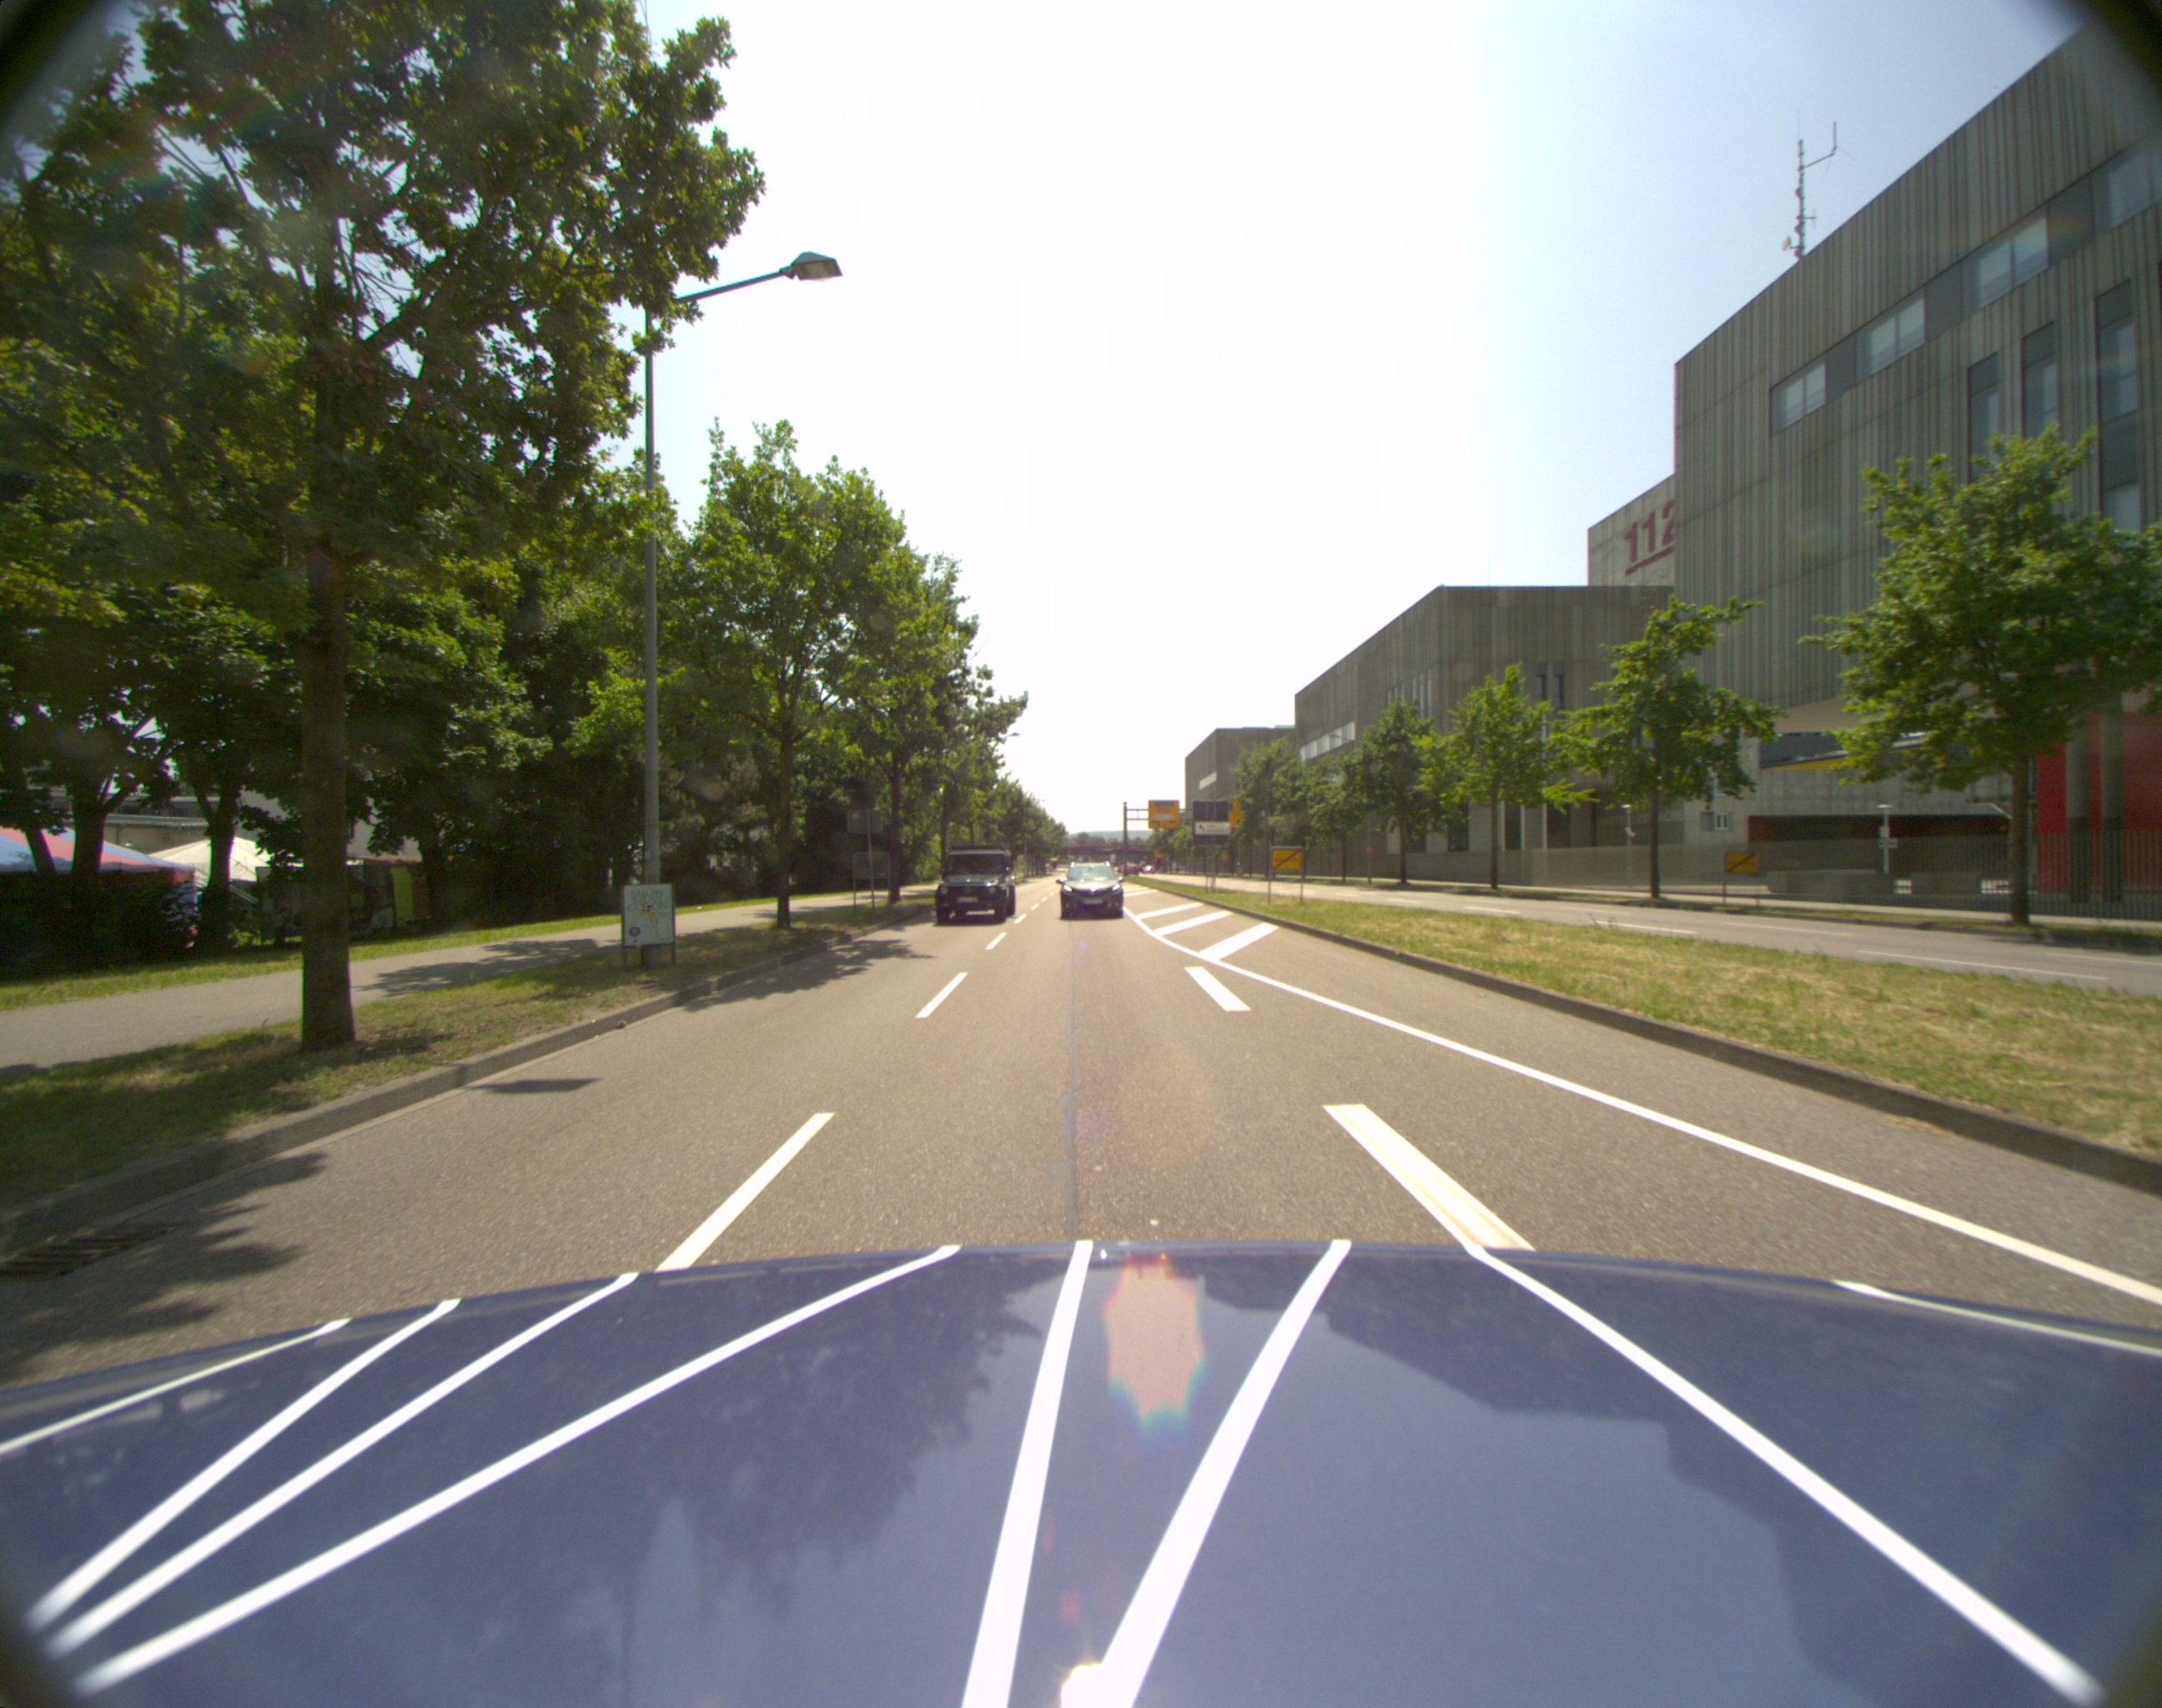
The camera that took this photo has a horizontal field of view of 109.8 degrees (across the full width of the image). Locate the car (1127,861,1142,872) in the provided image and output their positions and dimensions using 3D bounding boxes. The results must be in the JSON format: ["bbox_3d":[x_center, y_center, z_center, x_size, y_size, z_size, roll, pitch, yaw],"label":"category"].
[{"bbox_3d":[7.409,1.739,105.847,1.712,1.463,3.941,1,-1,-2],"label":"car"}]

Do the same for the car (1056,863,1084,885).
[{"bbox_3d":[-0.741,1.352,52.110,1.817,1.455,4.000,-1,-1,0],"label":"car"}]

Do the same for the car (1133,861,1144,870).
[{"bbox_3d":[12.376,2.445,164.116,1.815,1.736,4.645,0,0,-2],"label":"car"}]

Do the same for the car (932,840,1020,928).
[{"bbox_3d":[-2.806,0.763,21.180,1.841,2.141,4.557,-1,0,-1],"label":"car"}]

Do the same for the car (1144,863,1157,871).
[{"bbox_3d":[12.751,2.442,139.560,1.815,1.419,4.359,1,-1,0],"label":"car"}]

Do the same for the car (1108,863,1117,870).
[{"bbox_3d":[6.821,2.754,163.620,1.815,1.457,4.058,1,-1,0],"label":"car"}]

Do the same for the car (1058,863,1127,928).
[{"bbox_3d":[0.369,1.062,20.837,1.619,1.502,4.459,-3,-1,2],"label":"car"}]

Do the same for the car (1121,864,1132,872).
[{"bbox_3d":[9.278,2.810,154.576,1.770,1.452,4.145,1,-1,-1],"label":"car"}]
